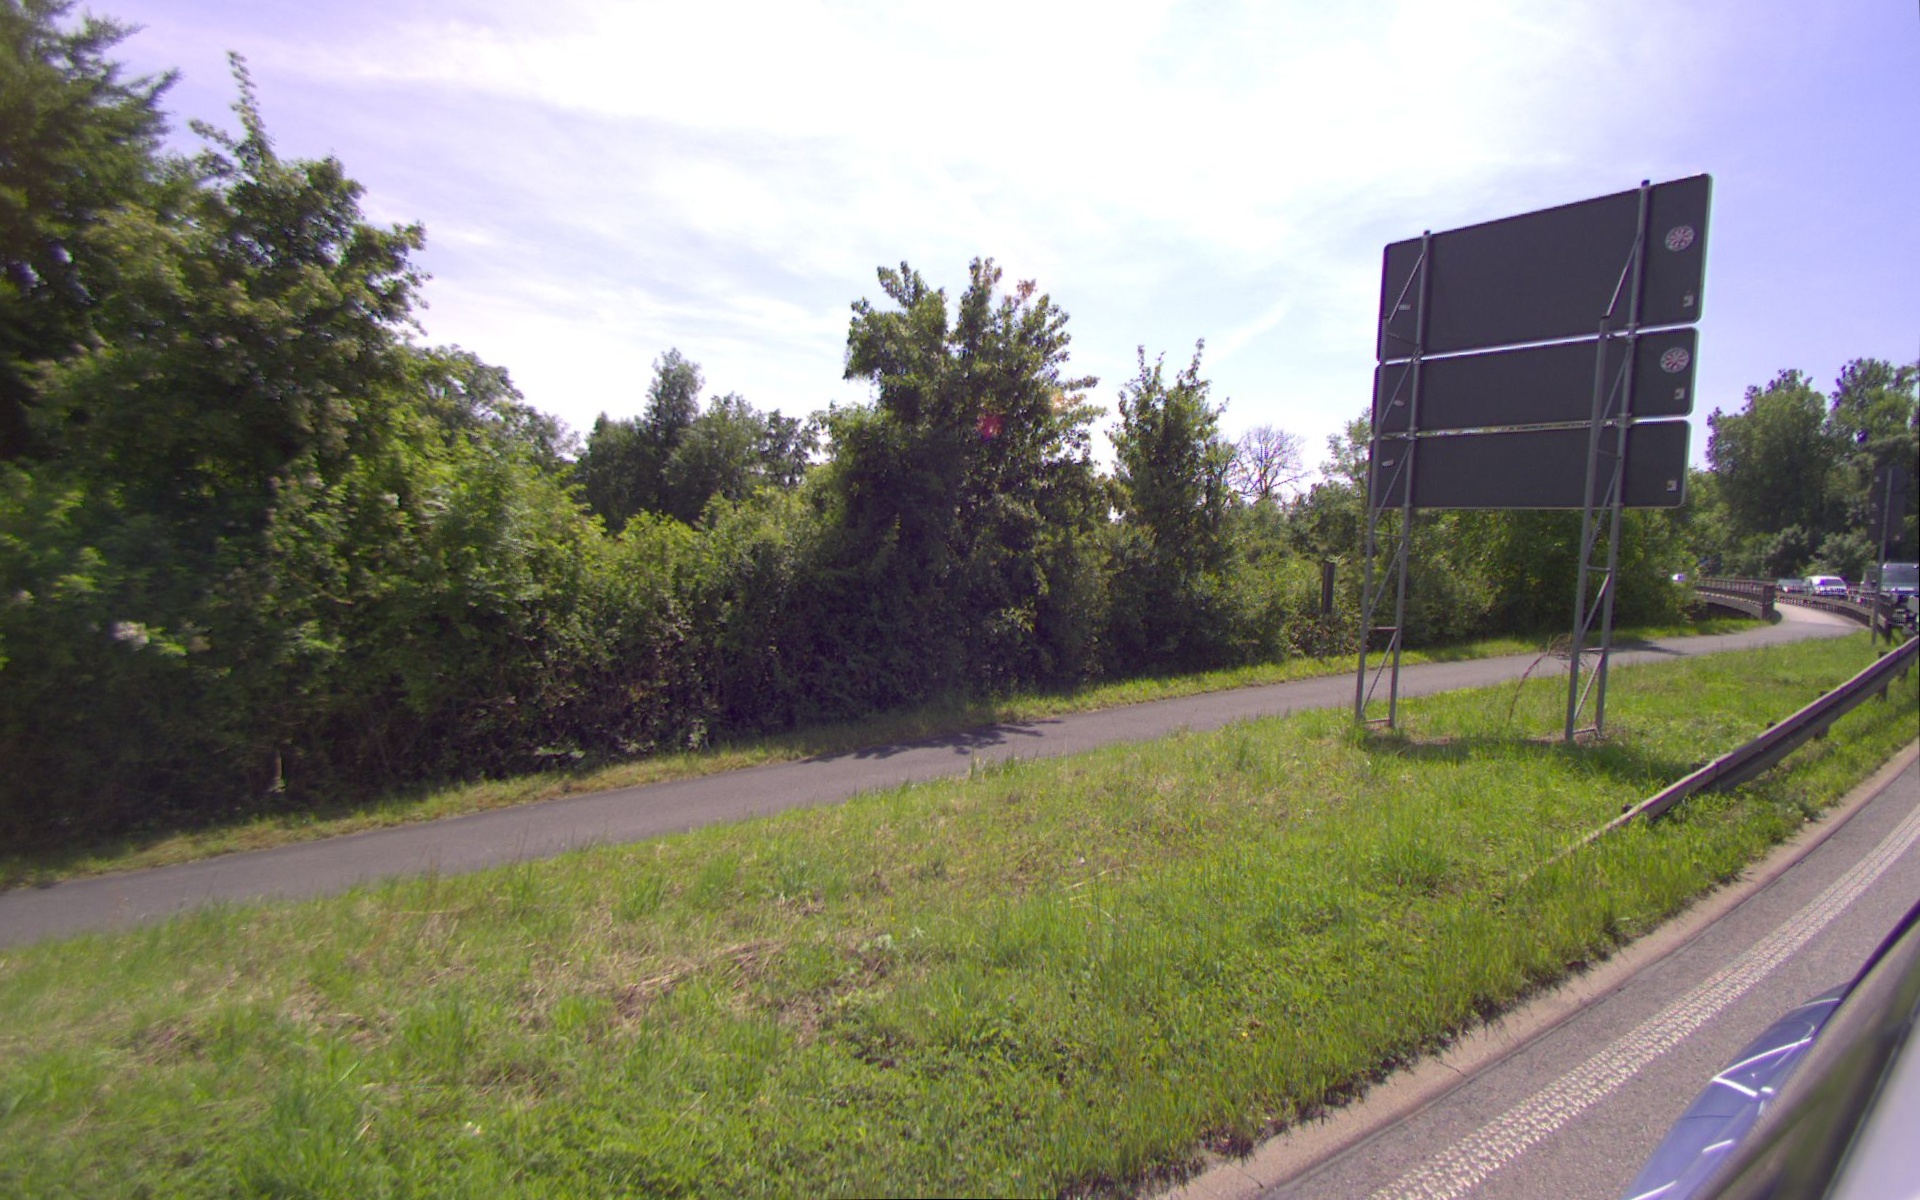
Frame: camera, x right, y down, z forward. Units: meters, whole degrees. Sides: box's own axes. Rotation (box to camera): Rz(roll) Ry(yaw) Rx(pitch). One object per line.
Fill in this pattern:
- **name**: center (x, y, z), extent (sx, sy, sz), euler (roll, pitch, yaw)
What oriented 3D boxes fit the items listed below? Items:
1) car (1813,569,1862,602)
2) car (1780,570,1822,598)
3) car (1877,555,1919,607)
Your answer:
- **car**: center (57.330, -0.958, 66.194), extent (1.987, 2.038, 4.654), euler (0, 2, 35)
- **car**: center (64.474, -1.231, 77.641), extent (1.985, 2.038, 3.955), euler (0, 2, 33)
- **car**: center (48.242, -1.009, 51.443), extent (1.989, 2.515, 4.794), euler (0, 2, 38)
